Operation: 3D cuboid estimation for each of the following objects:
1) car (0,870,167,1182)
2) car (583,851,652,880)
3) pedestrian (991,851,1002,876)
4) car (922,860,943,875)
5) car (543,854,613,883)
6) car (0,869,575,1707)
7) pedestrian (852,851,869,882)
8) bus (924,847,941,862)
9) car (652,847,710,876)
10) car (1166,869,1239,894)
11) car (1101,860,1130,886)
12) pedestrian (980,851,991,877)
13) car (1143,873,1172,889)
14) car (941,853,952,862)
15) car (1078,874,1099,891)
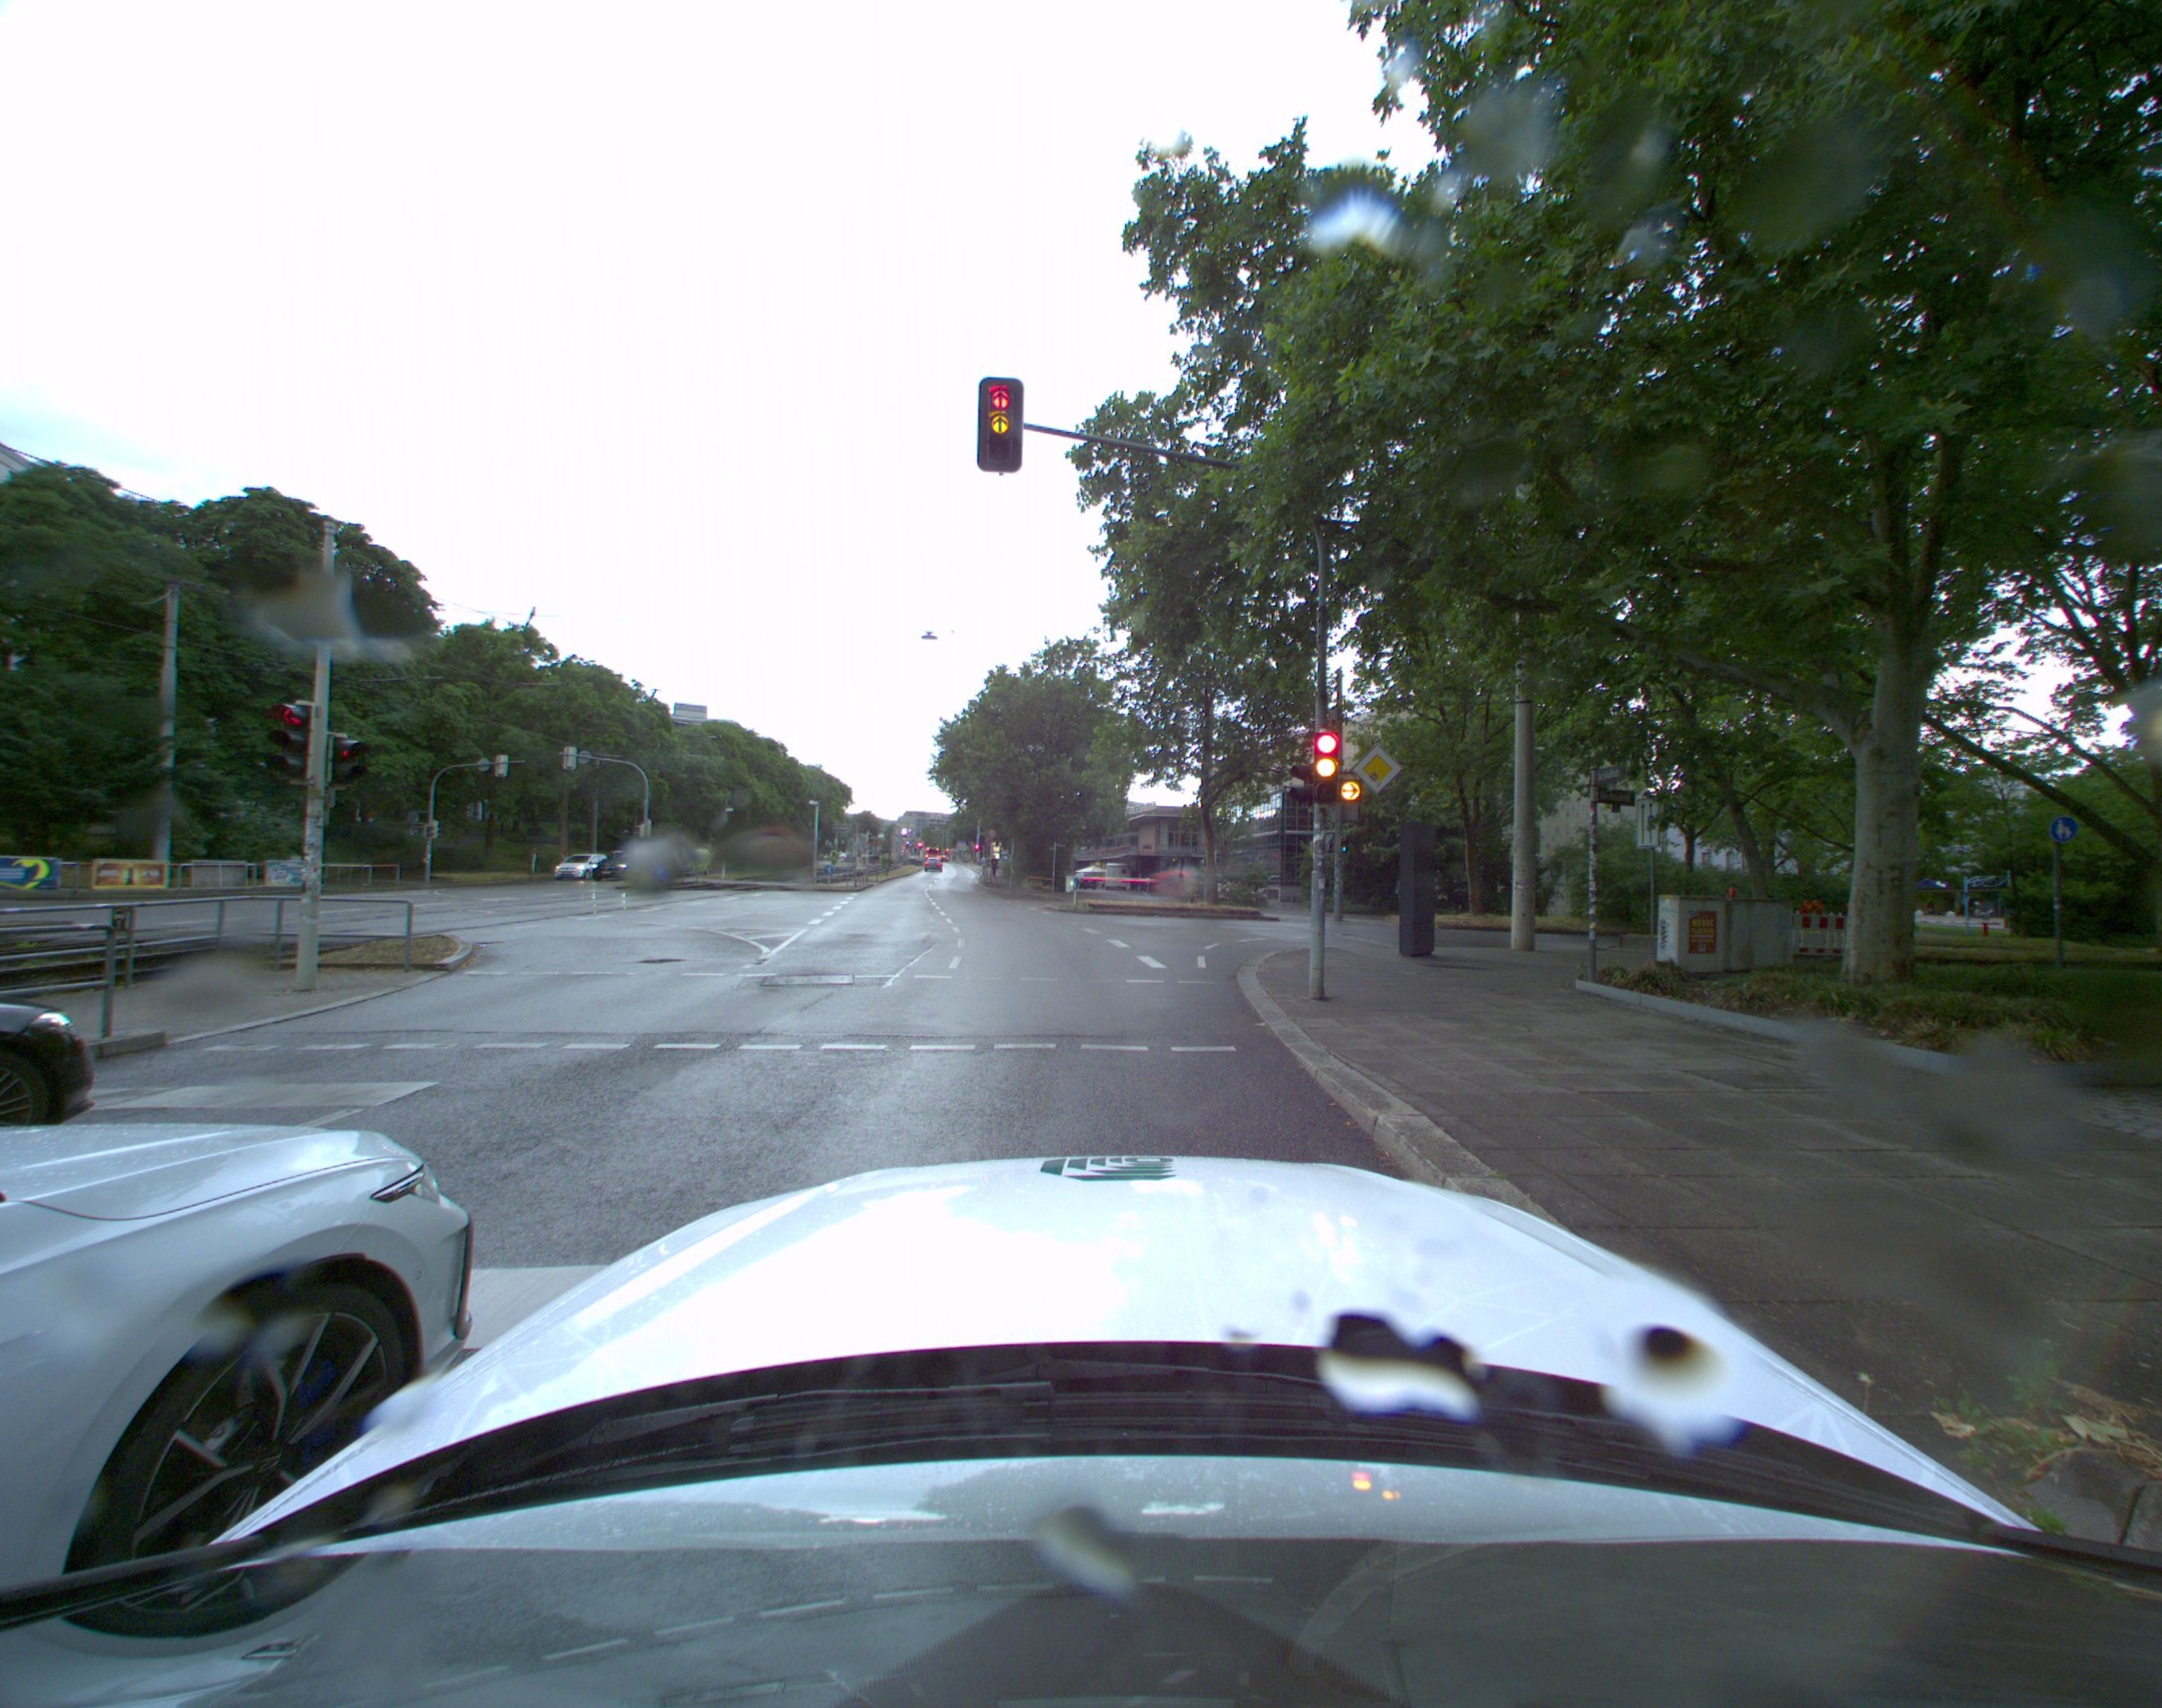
[{"bbox_3d":[-5.967,0.797,2.222,1.789,1.442,4.477,0,0,2],"label":"car"},{"bbox_3d":[-25.778,0.647,45.434,1.917,1.546,3.674,1,-1,-5],"label":"car"},{"bbox_3d":[-6.845,0.774,65.732,0.873,2.014,1.075,0,-1,-6],"label":"pedestrian"},{"bbox_3d":[-15.511,1.408,85.349,1.993,1.519,4.336,0,-1,-9],"label":"car"},{"bbox_3d":[-29.003,0.831,47.094,1.917,1.546,3.674,1,-1,-5],"label":"car"},{"bbox_3d":[-2.518,0.756,0.269,1.789,1.442,4.477,0,0,2],"label":"car"},{"bbox_3d":[-13.207,0.735,48.743,0.870,1.802,0.864,2,-1,-13],"label":"pedestrian"},{"bbox_3d":[-32.441,0.100,177.479,3.591,3.171,10.381,0,-1,-11],"label":"bus"},{"bbox_3d":[-26.526,0.517,54.238,1.917,1.851,4.558,1,-1,-5],"label":"car"},{"bbox_3d":[9.274,2.119,62.120,5.221,1.731,1.860,2,-1,-23],"label":"car"},{"bbox_3d":[3.818,2.046,91.553,2.725,2.695,6.916,2,0,-2],"label":"car"},{"bbox_3d":[-7.703,0.813,65.630,0.813,2.014,1.075,0,-1,-6],"label":"pedestrian"},{"bbox_3d":[8.295,2.904,89.106,2.020,1.551,4.334,2,0,-10],"label":"car"},{"bbox_3d":[-30.125,0.799,182.395,2.364,1.817,5.164,0,-1,-11],"label":"car"},{"bbox_3d":[0.856,3.061,88.070,2.010,1.551,4.355,2,0,4],"label":"car"}]
